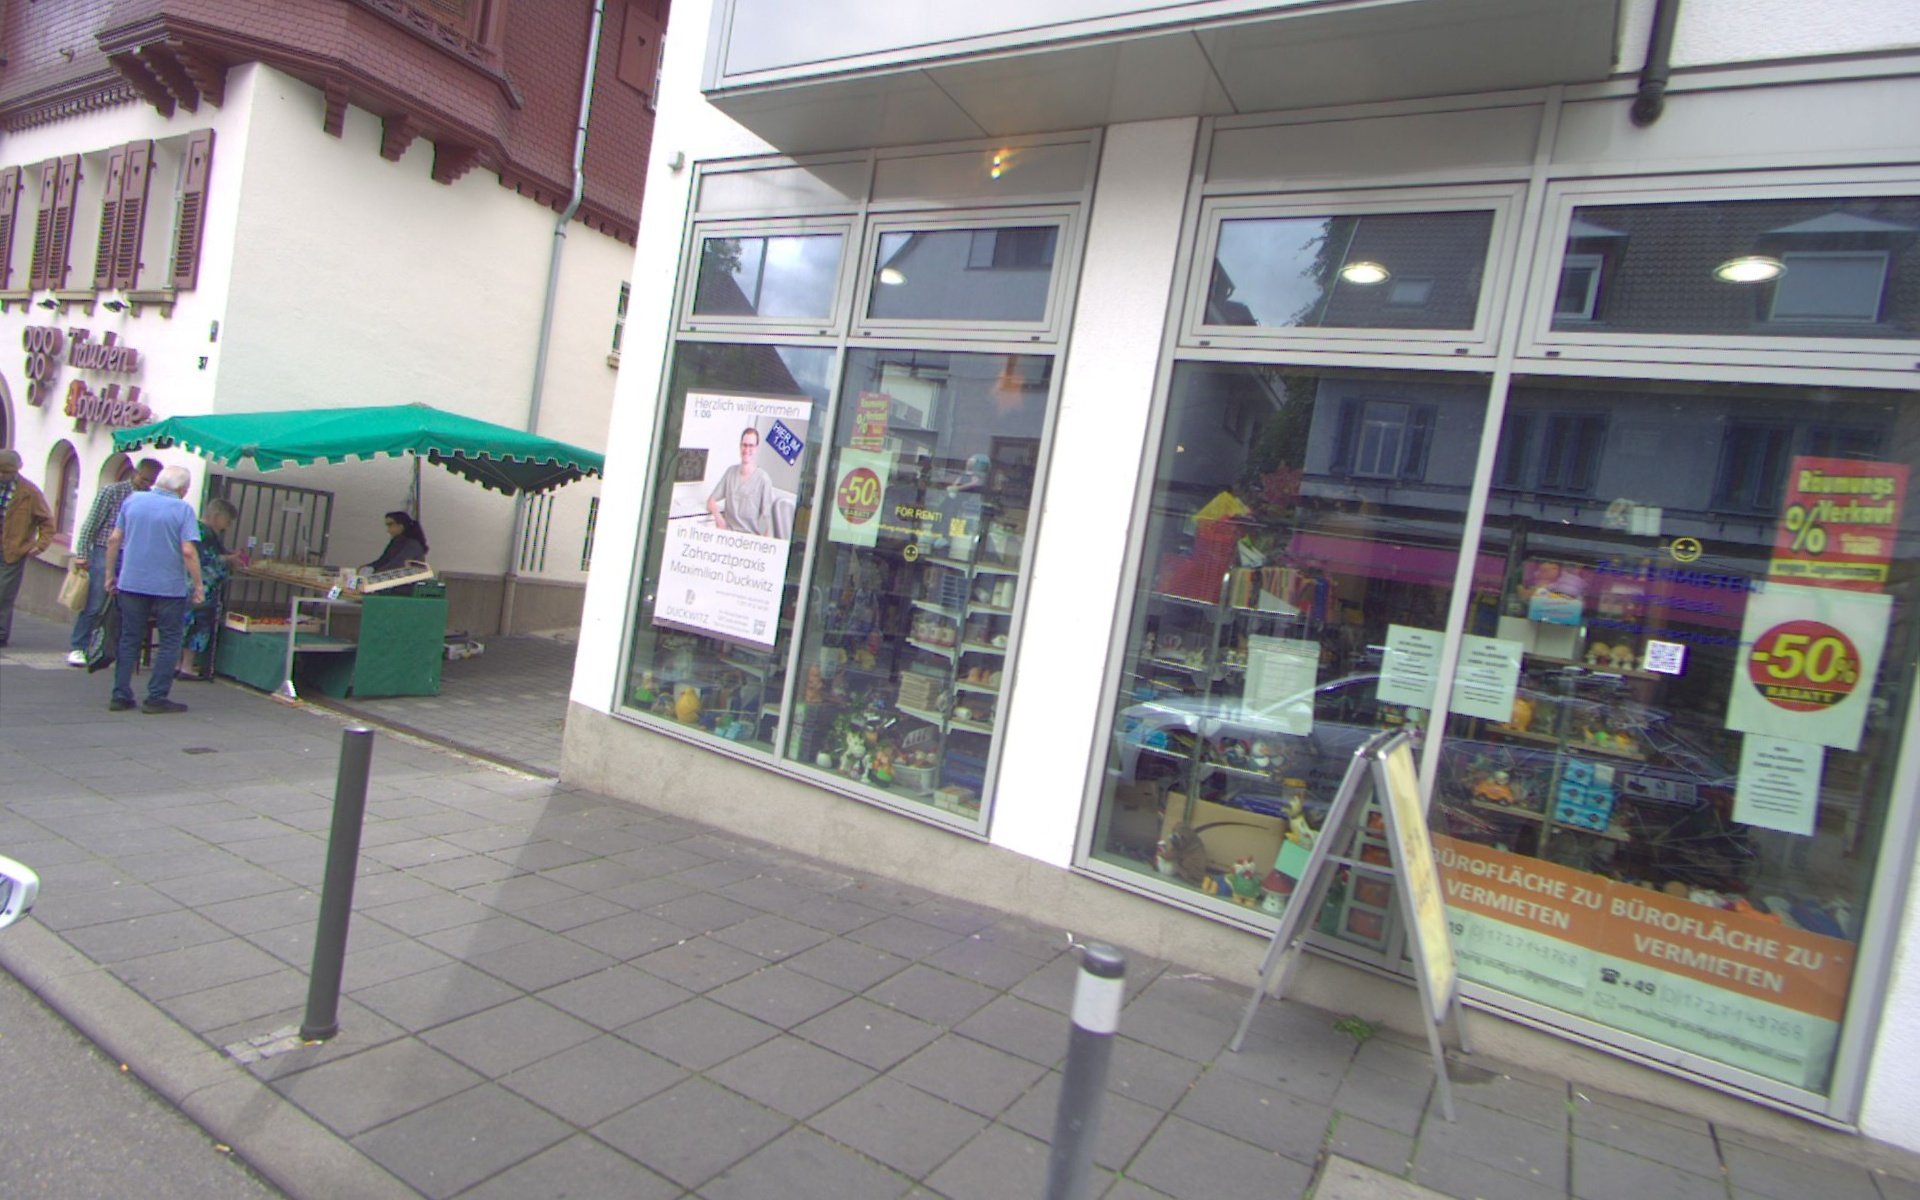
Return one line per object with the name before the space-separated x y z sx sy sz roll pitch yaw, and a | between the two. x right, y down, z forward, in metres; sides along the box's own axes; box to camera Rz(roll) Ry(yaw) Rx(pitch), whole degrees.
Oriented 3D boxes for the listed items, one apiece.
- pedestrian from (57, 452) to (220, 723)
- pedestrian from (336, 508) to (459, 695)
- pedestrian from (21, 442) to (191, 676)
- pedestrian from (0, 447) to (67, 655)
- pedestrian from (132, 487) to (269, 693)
pedestrian | -5.811 -0.079 7.159 0.696 1.789 0.620 6 1 -33
pedestrian | -5.220 0.021 9.339 0.692 1.633 0.623 7 1 36
pedestrian | -7.426 -0.341 8.788 0.769 1.880 0.700 6 1 -16
pedestrian | -8.758 -0.468 9.091 0.666 1.824 0.786 7 1 37
pedestrian | -6.413 -0.078 8.495 0.692 1.633 0.623 7 1 36
